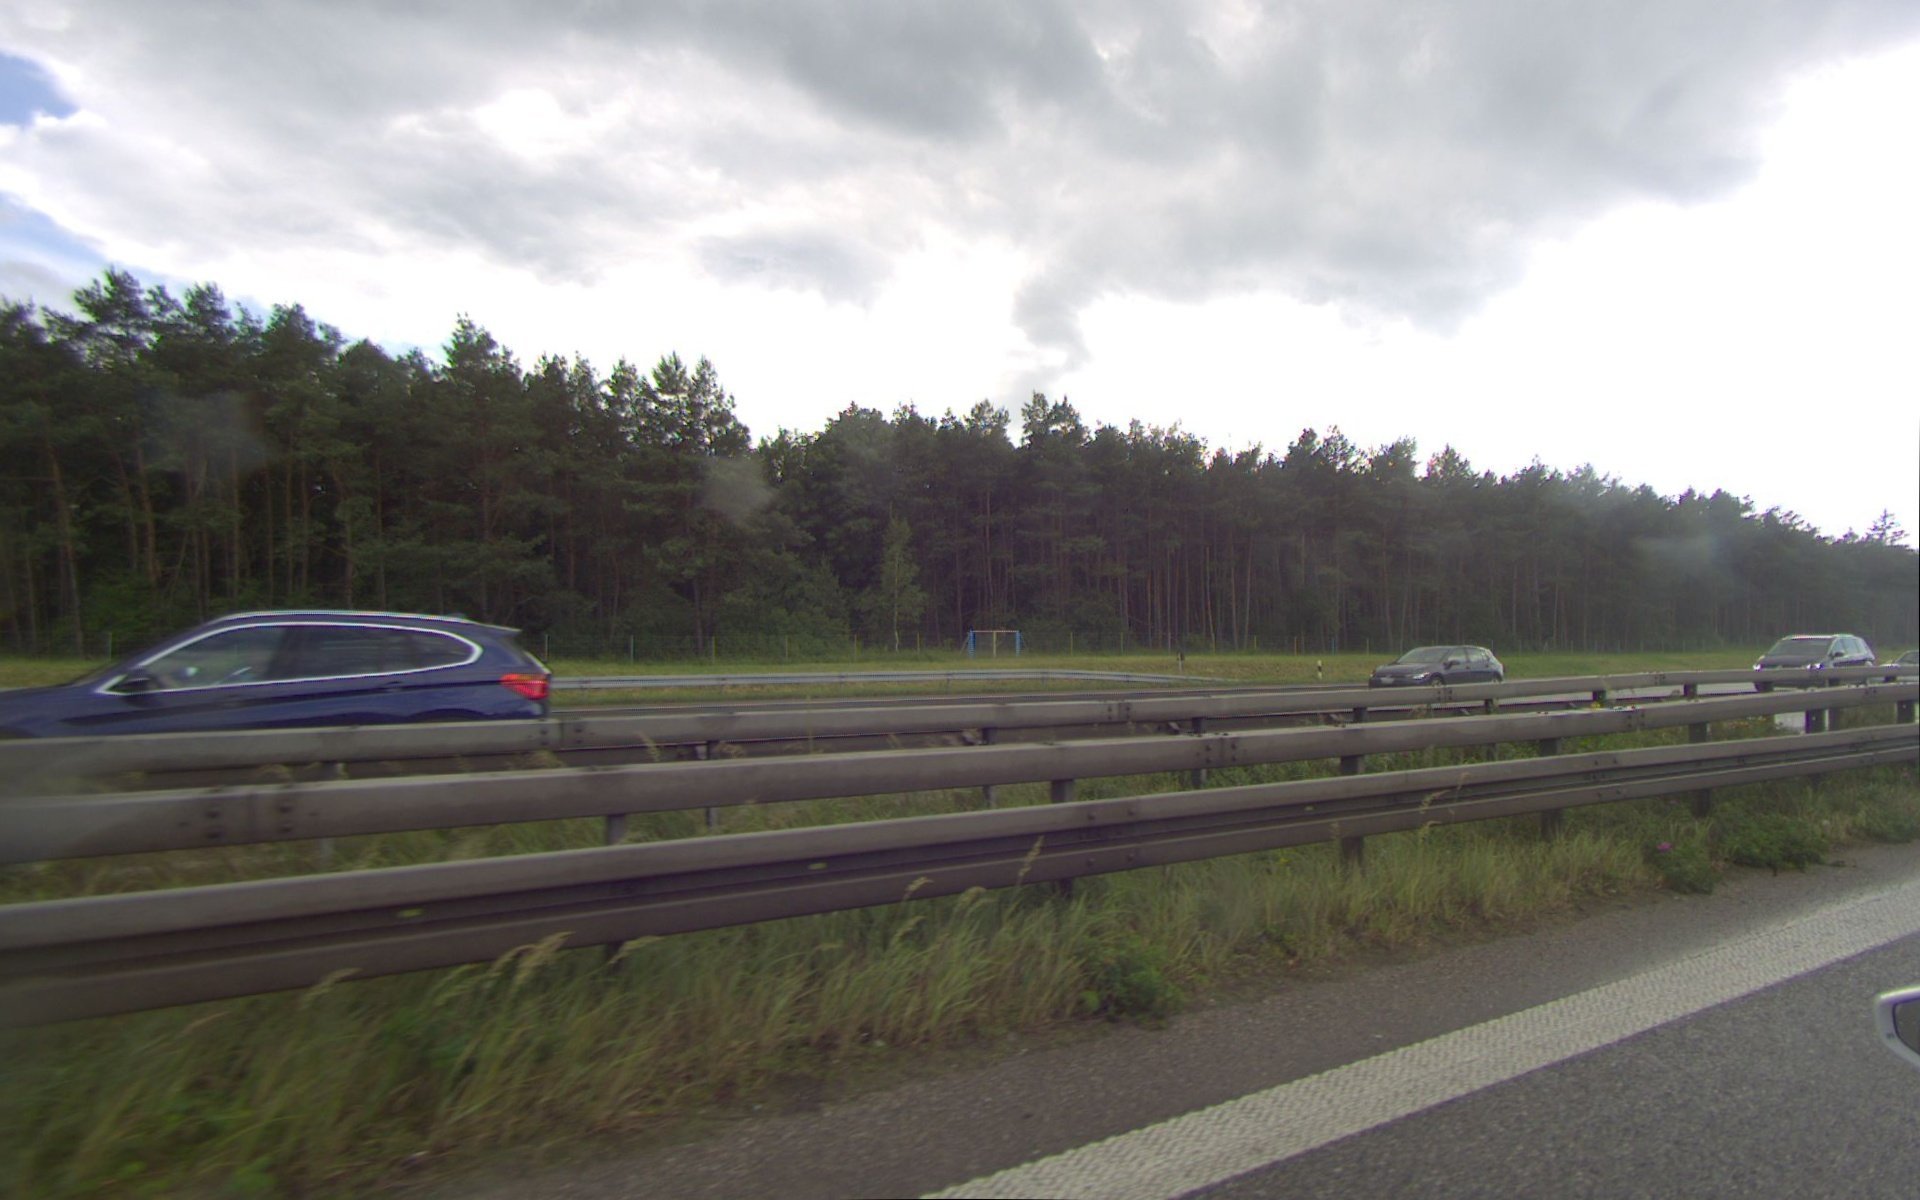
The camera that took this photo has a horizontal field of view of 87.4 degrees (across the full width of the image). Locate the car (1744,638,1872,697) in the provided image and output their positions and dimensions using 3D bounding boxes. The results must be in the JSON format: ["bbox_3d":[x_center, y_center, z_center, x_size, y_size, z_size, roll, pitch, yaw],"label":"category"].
[{"bbox_3d":[26.106,2.040,30.911,4.089,1.705,1.716,1,-4,-31],"label":"car"}]

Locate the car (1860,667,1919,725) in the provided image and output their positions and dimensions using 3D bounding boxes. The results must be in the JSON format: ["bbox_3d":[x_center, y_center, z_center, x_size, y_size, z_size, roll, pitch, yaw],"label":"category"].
[{"bbox_3d":[24.644,2.387,25.388,4.015,1.276,1.686,1,-2,-31],"label":"car"}]

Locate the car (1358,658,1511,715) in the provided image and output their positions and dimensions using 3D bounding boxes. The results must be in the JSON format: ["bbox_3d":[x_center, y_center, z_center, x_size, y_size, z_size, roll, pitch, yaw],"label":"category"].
[{"bbox_3d":[12.919,2.300,27.306,4.135,1.414,1.716,1,-4,-31],"label":"car"}]

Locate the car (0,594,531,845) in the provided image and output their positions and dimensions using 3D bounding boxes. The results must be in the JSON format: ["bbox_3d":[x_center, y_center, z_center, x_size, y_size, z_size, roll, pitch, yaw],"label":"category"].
[{"bbox_3d":[-5.361,0.803,7.674,3.677,1.563,1.783,1,-3,-29],"label":"car"}]

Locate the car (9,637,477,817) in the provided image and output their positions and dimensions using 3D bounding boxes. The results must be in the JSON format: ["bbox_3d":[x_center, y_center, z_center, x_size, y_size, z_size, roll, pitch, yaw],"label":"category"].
[{"bbox_3d":[-7.386,1.211,10.827,3.802,1.600,1.744,1,-1,-31],"label":"car"}]
